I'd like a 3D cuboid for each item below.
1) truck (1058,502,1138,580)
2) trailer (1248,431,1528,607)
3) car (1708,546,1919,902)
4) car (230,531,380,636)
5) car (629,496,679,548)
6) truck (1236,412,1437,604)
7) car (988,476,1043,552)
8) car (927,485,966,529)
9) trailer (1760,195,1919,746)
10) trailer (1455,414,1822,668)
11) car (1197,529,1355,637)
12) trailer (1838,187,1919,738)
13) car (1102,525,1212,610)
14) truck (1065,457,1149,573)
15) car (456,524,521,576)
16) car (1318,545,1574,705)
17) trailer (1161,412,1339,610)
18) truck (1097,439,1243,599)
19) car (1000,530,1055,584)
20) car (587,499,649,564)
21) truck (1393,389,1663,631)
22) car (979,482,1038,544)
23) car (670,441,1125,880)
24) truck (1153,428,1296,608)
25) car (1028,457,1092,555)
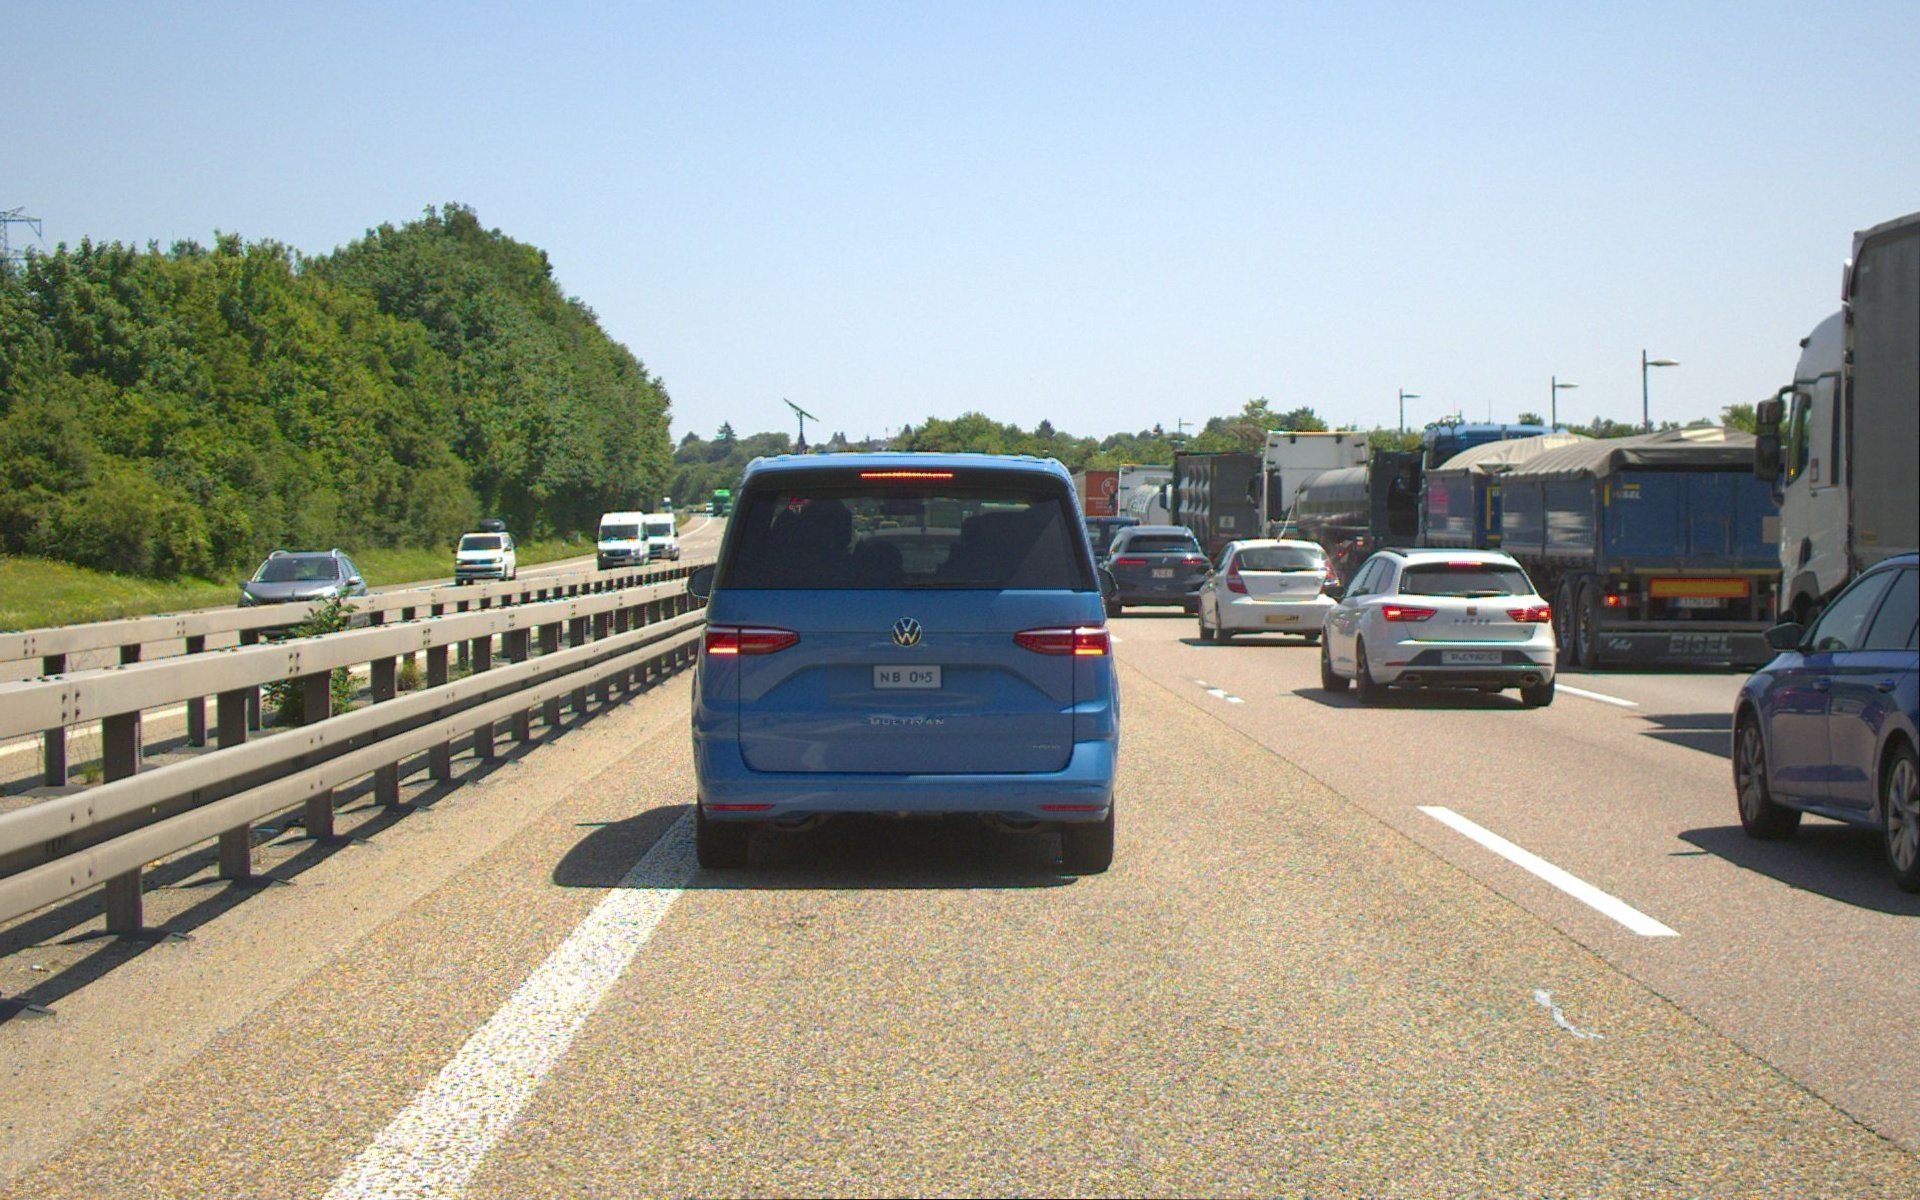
[{"bbox_3d":[3.370,-1.432,84.417,1.725,1.851,4.000,1,1,-1],"label":"truck"},{"bbox_3d":[8.269,-1.519,68.981,3.646,3.068,15.772,1,1,0],"label":"trailer"},{"bbox_3d":[4.738,0.495,15.615,1.706,1.436,4.428,1,1,0],"label":"car"},{"bbox_3d":[-10.653,-0.282,56.139,1.773,1.625,3.951,1,1,-1],"label":"car"},{"bbox_3d":[-16.091,-4.084,181.279,2.156,2.585,5.891,-1,1,-1],"label":"car"},{"bbox_3d":[8.410,-2.019,77.725,3.626,4.080,7.524,1,1,0],"label":"truck"},{"bbox_3d":[3.957,-6.096,245.633,3.218,5.239,8.145,1,1,-4],"label":"car"},{"bbox_3d":[-1.041,-7.050,261.810,2.485,3.193,7.373,1,1,-3],"label":"car"},{"bbox_3d":[8.486,-0.991,26.866,2.924,4.030,6.411,0,1,0],"label":"trailer"},{"bbox_3d":[8.320,-0.830,43.419,2.743,2.827,9.116,1,2,0],"label":"trailer"},{"bbox_3d":[4.461,-0.250,49.014,1.840,1.449,4.000,1,1,0],"label":"car"},{"bbox_3d":[8.530,-0.908,20.547,2.962,4.035,13.753,0,1,0],"label":"trailer"},{"bbox_3d":[3.660,-0.613,64.452,1.781,1.519,4.000,1,1,-1],"label":"car"},{"bbox_3d":[6.427,-3.684,151.765,3.068,4.903,10.691,1,1,-1],"label":"truck"},{"bbox_3d":[-18.084,-1.898,132.092,1.864,1.898,5.493,-2,1,-2],"label":"car"},{"bbox_3d":[4.478,0.186,32.208,1.867,1.356,4.000,1,1,1],"label":"car"},{"bbox_3d":[7.967,-2.396,96.511,3.646,5.118,13.076,1,1,-1],"label":"trailer"},{"bbox_3d":[7.237,-2.750,121.165,3.621,5.195,15.690,1,1,-2],"label":"truck"},{"bbox_3d":[2.577,-1.643,132.265,1.993,2.007,4.000,1,1,-1],"label":"car"},{"bbox_3d":[-14.999,-2.993,151.011,2.052,2.642,5.839,-4,1,-1],"label":"car"},{"bbox_3d":[8.283,-1.364,50.992,2.743,3.300,7.133,1,2,0],"label":"truck"},{"bbox_3d":[2.208,-3.977,158.493,2.550,2.708,5.621,1,1,-1],"label":"car"},{"bbox_3d":[-0.235,0.237,16.583,1.901,1.831,4.000,1,1,1],"label":"car"},{"bbox_3d":[7.826,-2.412,102.646,3.658,5.162,5.709,1,0,-1],"label":"truck"},{"bbox_3d":[5.461,-5.108,189.241,3.218,5.239,8.144,1,1,0],"label":"car"}]
